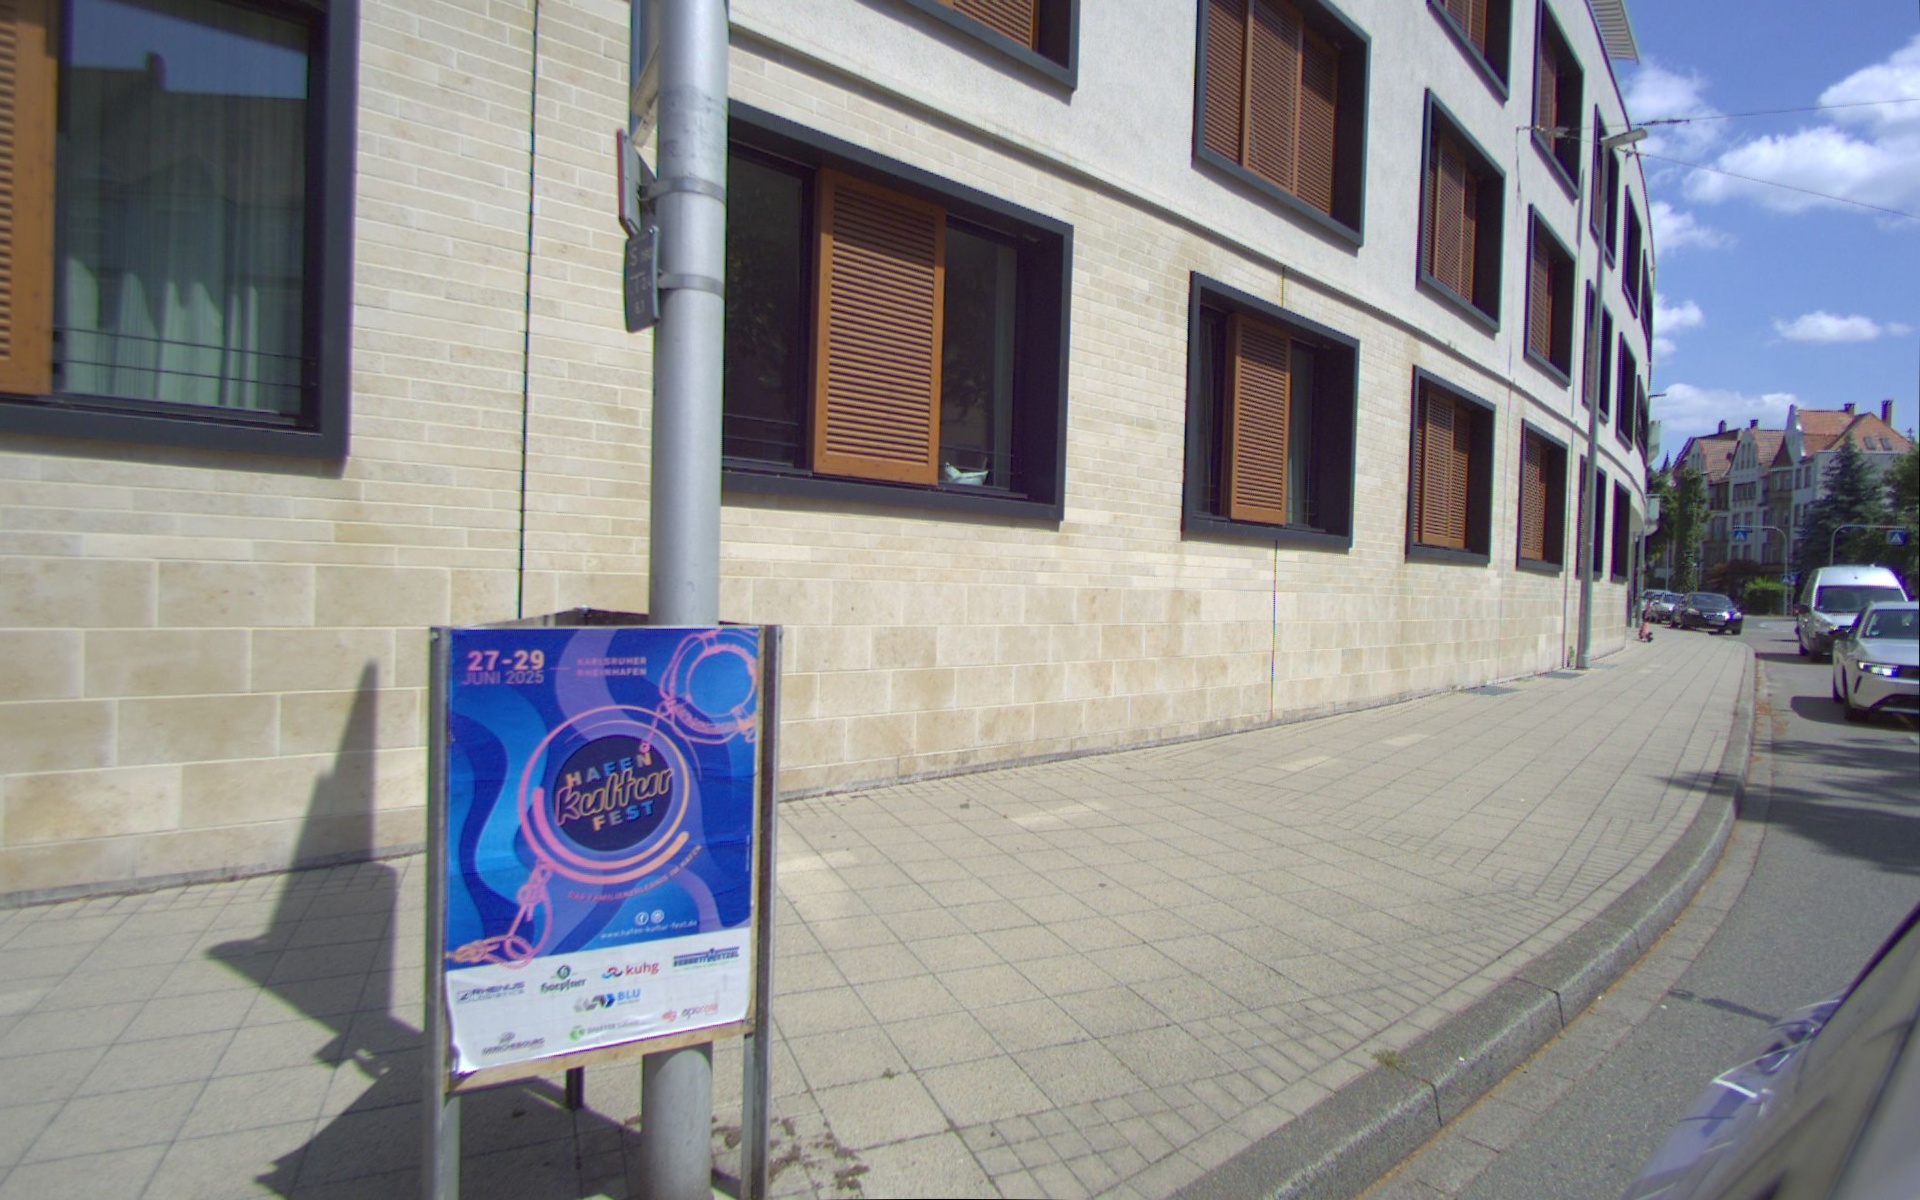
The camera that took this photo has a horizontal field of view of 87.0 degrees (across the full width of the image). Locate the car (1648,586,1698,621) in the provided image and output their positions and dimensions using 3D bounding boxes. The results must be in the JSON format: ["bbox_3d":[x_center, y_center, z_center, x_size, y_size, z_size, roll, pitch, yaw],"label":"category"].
[{"bbox_3d":[34.510,0.145,49.075,1.722,1.450,3.994,7,4,33],"label":"car"}]

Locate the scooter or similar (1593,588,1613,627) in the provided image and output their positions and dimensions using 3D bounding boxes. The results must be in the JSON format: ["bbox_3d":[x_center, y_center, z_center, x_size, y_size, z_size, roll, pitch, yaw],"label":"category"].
[{"bbox_3d":[20.907,0.232,32.912,0.419,1.226,1.302,3,1,28],"label":"scooter or similar"}]

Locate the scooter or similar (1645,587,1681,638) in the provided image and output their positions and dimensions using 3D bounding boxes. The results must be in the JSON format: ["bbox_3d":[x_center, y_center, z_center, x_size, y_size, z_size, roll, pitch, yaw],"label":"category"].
[{"bbox_3d":[18.433,0.314,26.570,0.579,1.276,1.353,5,3,30],"label":"scooter or similar"}]

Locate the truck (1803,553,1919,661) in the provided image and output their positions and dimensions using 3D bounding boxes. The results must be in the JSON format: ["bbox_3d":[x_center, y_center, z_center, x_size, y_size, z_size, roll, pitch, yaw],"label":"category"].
[{"bbox_3d":[21.489,0.098,23.967,2.010,2.277,5.336,2,2,37],"label":"truck"}]

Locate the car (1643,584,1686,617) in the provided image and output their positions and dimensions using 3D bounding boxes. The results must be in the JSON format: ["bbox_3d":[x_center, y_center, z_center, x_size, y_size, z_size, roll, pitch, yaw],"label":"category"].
[{"bbox_3d":[38.756,0.006,55.623,1.723,1.630,3.750,5,4,37],"label":"car"}]

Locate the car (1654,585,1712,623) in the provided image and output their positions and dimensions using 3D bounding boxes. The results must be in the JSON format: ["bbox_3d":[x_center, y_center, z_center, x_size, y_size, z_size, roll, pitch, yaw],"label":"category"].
[{"bbox_3d":[32.187,0.144,45.118,1.585,1.450,3.668,7,4,29],"label":"car"}]

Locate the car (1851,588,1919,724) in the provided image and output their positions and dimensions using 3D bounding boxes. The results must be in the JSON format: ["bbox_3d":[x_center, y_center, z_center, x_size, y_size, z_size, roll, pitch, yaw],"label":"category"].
[{"bbox_3d":[12.271,0.630,12.398,1.797,1.484,4.104,2,2,44],"label":"car"}]

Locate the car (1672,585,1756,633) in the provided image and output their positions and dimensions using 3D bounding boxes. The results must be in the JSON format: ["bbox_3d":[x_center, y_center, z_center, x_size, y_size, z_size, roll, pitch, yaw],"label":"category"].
[{"bbox_3d":[29.013,0.285,39.084,1.790,1.527,4.504,6,4,28],"label":"car"}]
